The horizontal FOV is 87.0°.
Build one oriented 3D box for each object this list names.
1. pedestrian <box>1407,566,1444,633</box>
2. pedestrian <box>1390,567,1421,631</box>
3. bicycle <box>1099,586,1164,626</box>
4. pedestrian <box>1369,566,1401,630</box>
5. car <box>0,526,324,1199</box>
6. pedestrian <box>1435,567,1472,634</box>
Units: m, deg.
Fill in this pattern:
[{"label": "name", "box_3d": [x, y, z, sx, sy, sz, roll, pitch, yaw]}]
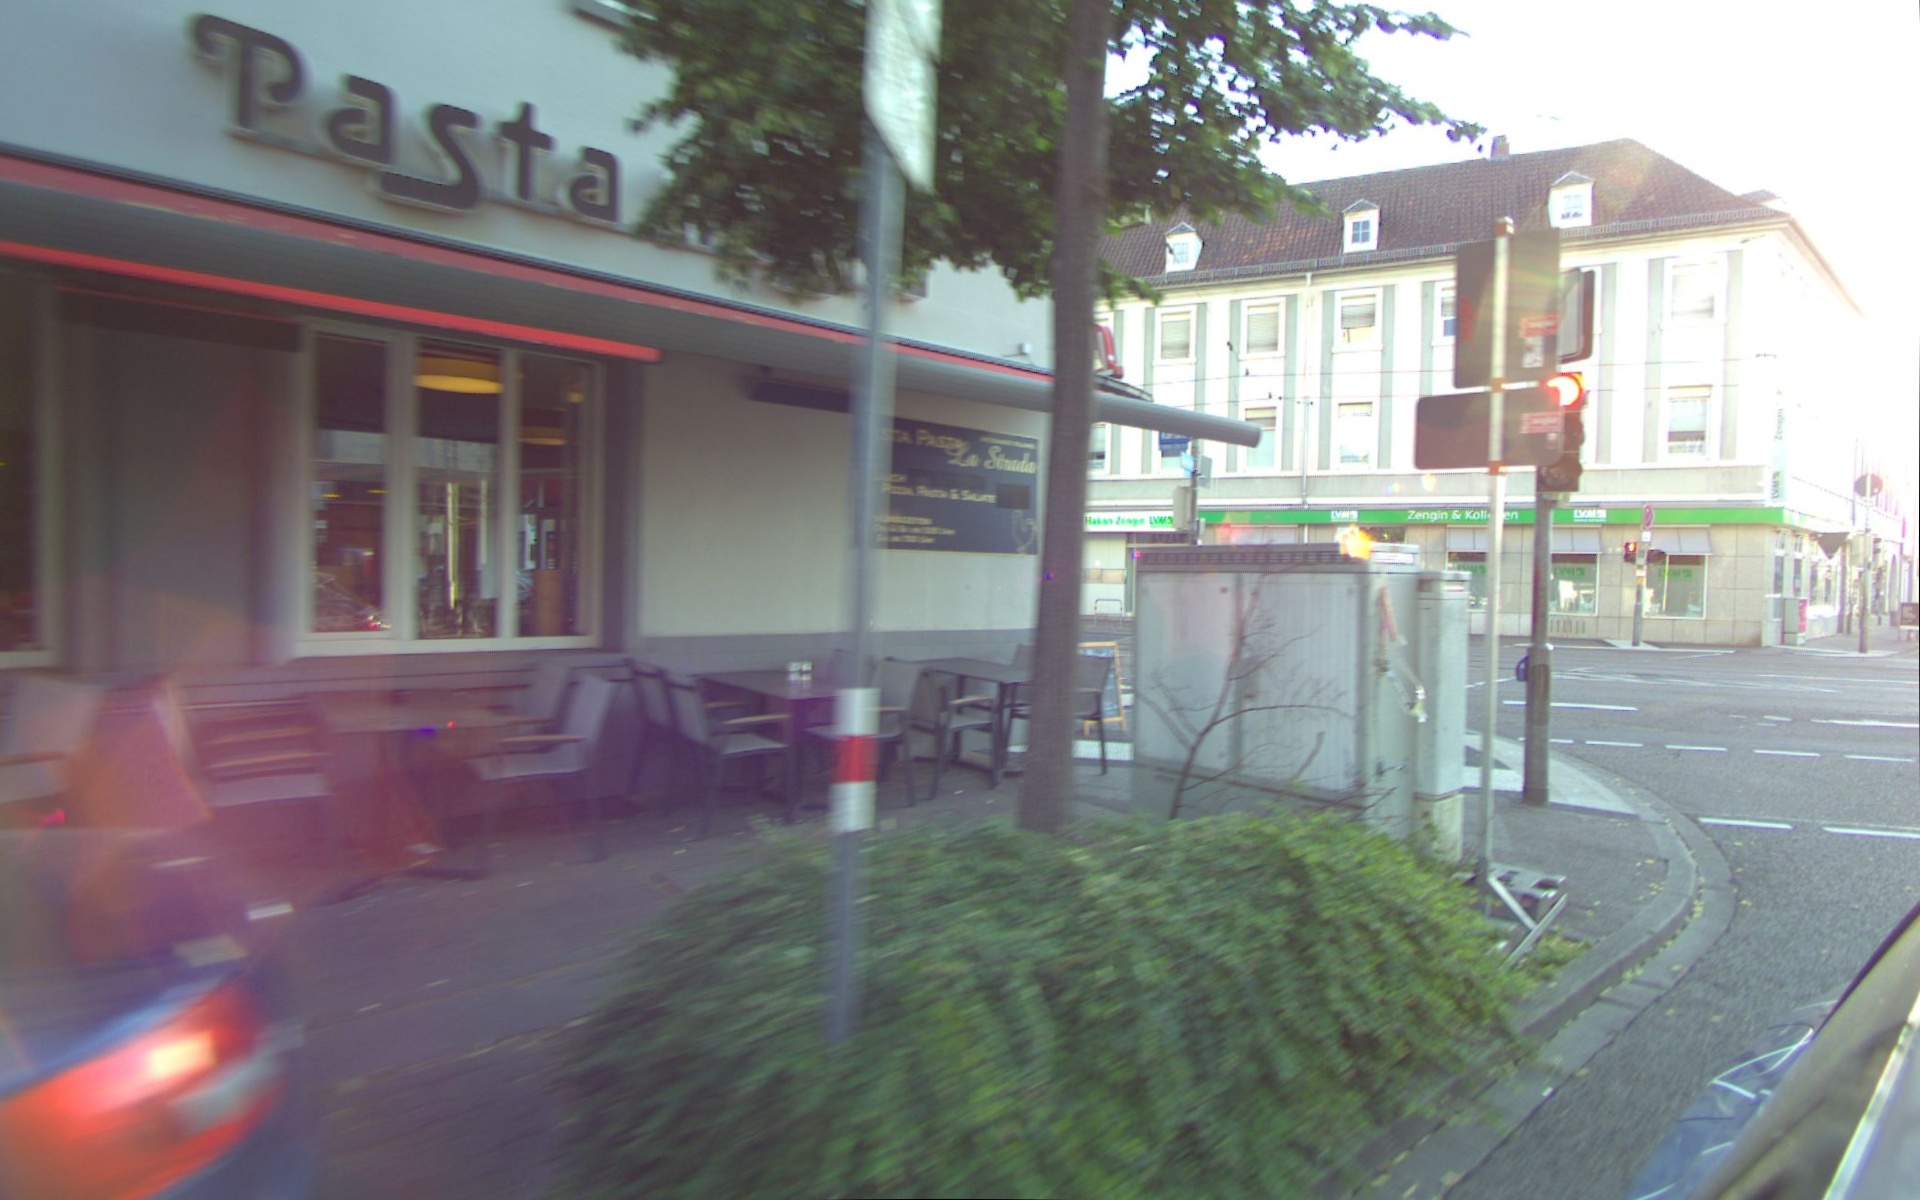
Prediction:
[{"label": "pedestrian", "box_3d": [13.098, -0.031, 28.474, 0.775, 1.835, 0.895, 0, 1, 37]}, {"label": "pedestrian", "box_3d": [12.753, -0.036, 28.975, 0.672, 1.794, 0.628, 0, 1, 9]}, {"label": "bicycle", "box_3d": [5.283, 0.183, 31.266, 1.857, 1.199, 0.689, 0, 1, 31]}, {"label": "pedestrian", "box_3d": [12.150, -0.059, 28.930, 0.675, 1.794, 0.763, 0, 1, 9]}, {"label": "car", "box_3d": [-2.849, 0.649, 0.425, 4.112, 1.394, 1.939, 0, 0, -43]}, {"label": "pedestrian", "box_3d": [13.599, -0.002, 27.870, 0.775, 1.794, 0.895, 0, 1, 37]}]
